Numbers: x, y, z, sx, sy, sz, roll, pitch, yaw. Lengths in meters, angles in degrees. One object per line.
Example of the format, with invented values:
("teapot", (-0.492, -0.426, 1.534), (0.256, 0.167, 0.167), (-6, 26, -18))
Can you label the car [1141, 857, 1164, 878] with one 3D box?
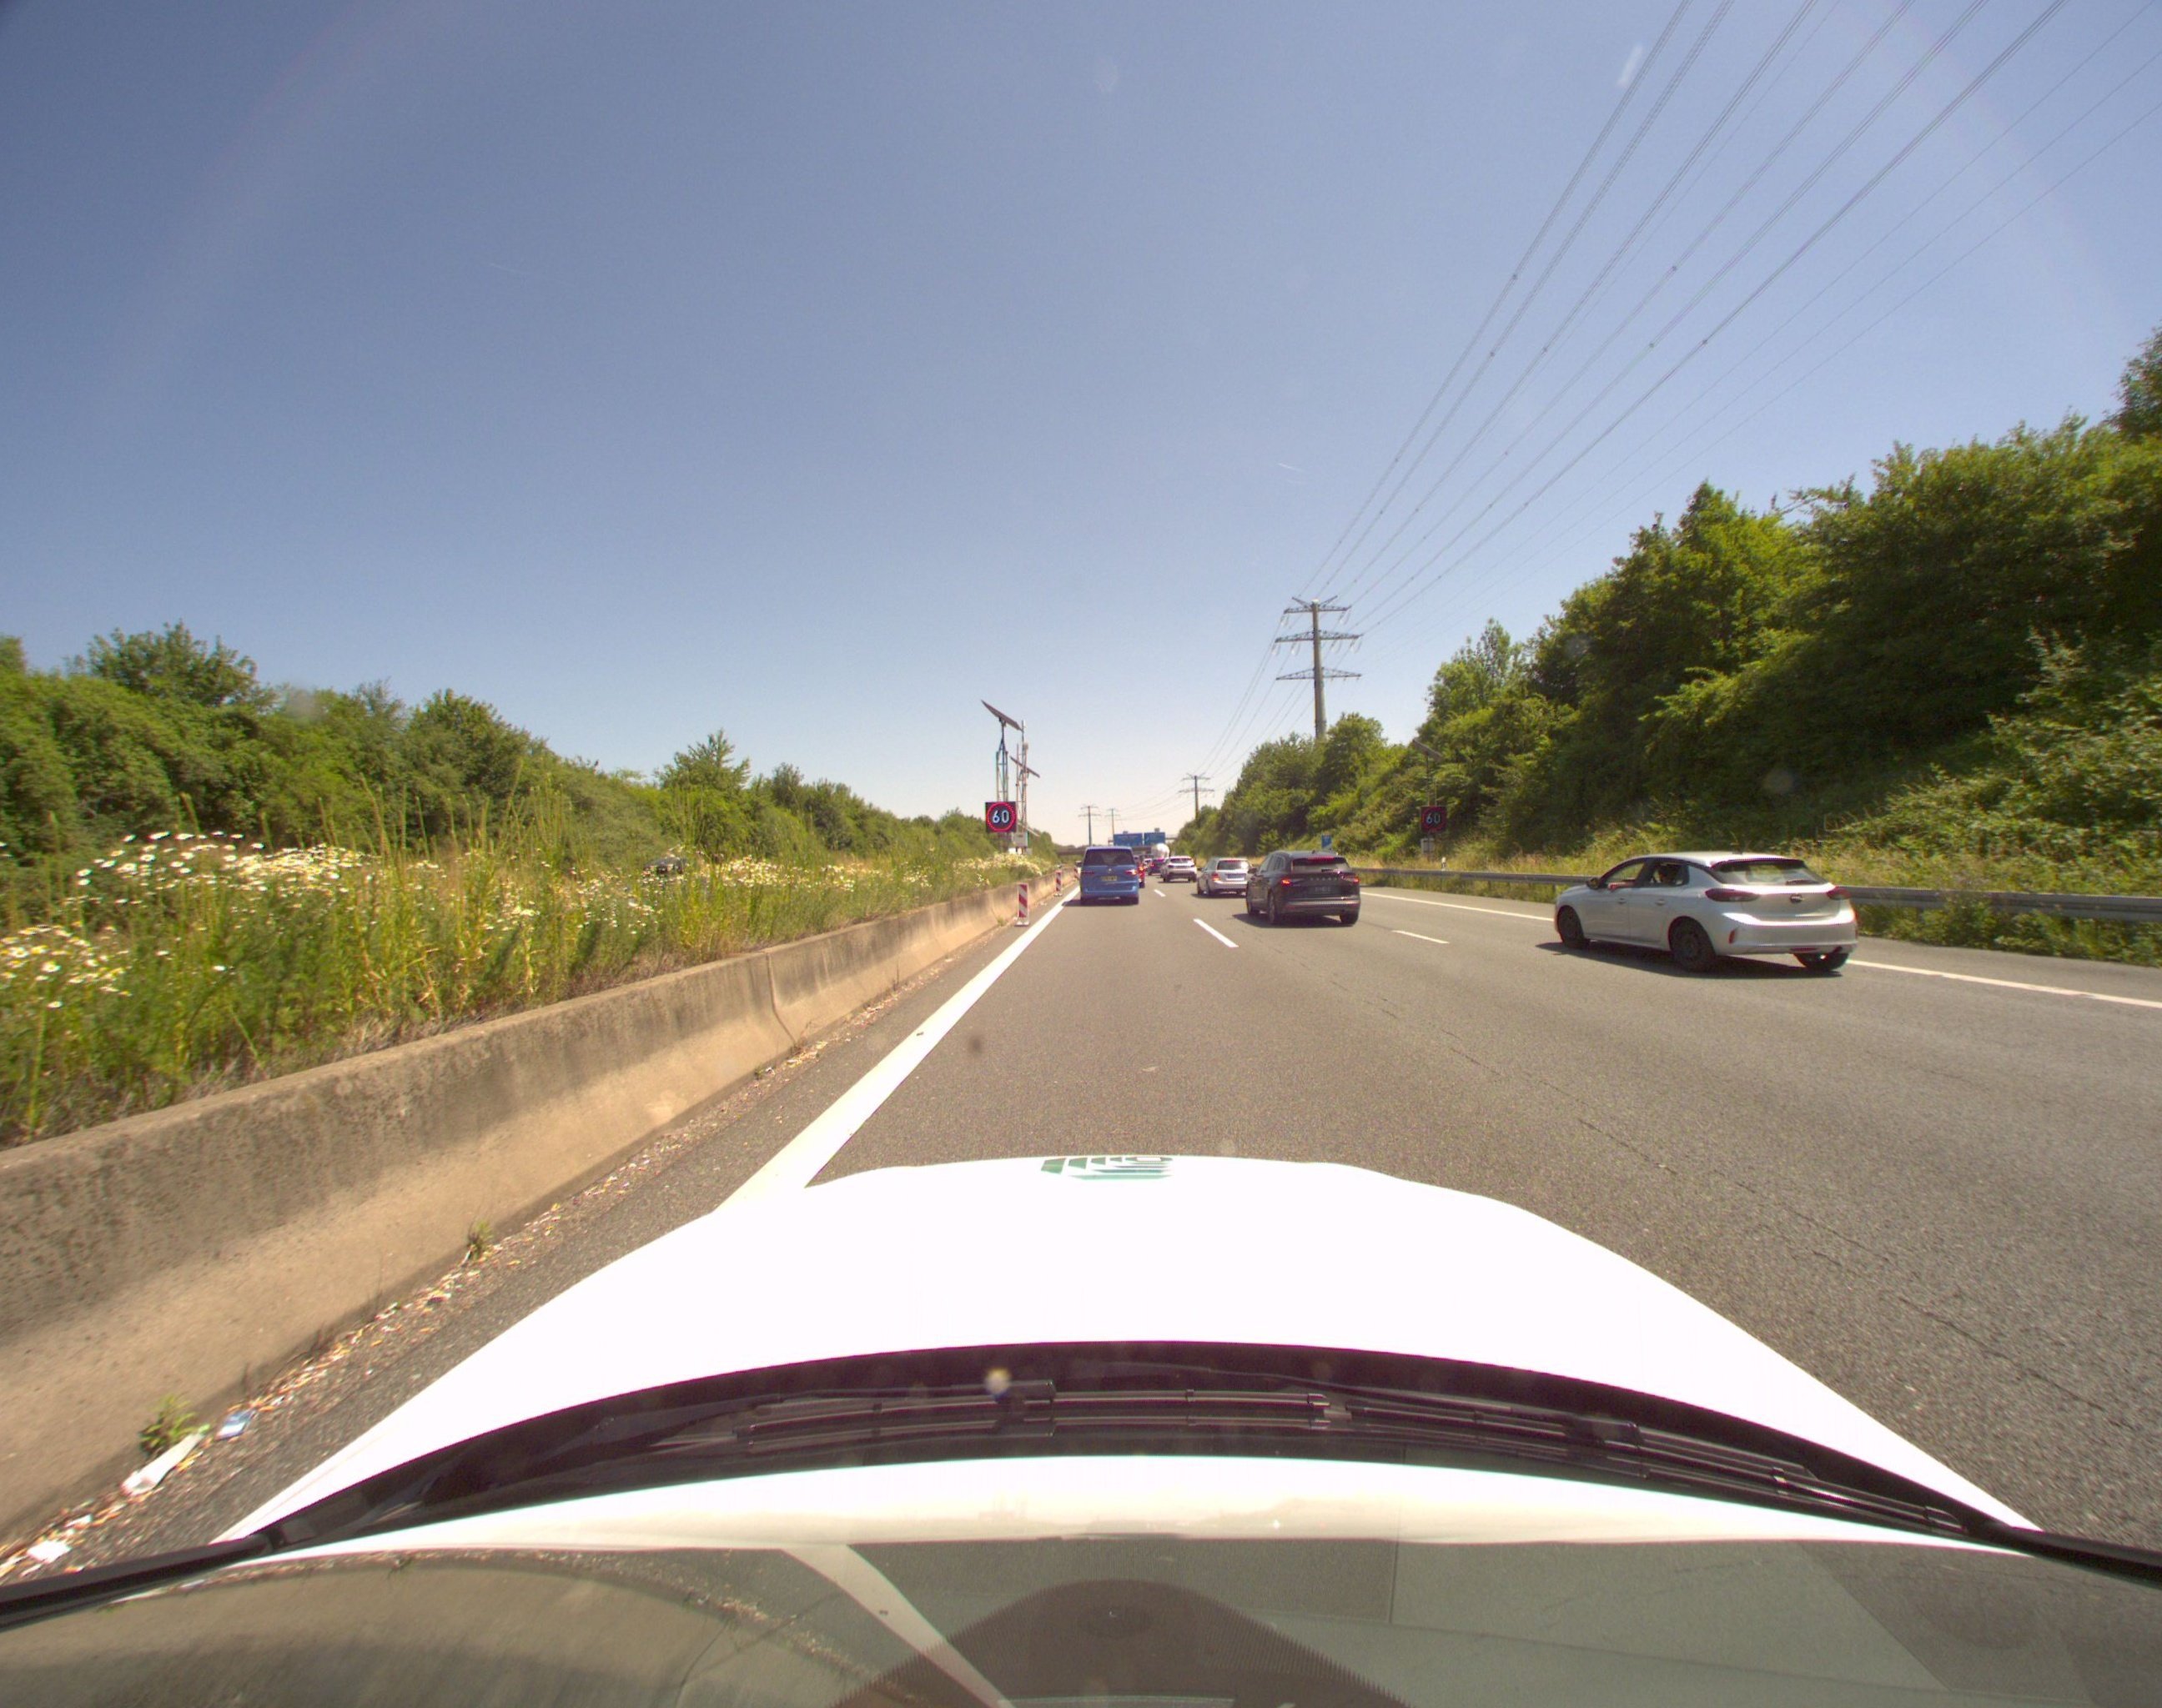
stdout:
("car", (7.012, 1.320, 79.845), (1.986, 2.014, 4.001), (0, 0, 2))

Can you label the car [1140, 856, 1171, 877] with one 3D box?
("car", (5.495, 0.895, 60.444), (1.902, 1.516, 4.383), (0, 0, 0))

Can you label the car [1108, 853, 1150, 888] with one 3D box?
("car", (2.349, 0.806, 41.109), (1.902, 1.631, 4.384), (-1, 0, 1))

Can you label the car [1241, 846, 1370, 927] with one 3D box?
("car", (5.007, 0.667, 18.778), (1.821, 1.614, 4.431), (-1, 0, 1))

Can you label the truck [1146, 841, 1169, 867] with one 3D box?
("truck", (12.864, -0.009, 137.882), (2.635, 4.072, 16.442), (0, 0, 1))

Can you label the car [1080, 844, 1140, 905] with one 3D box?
("car", (0.904, 0.648, 27.506), (1.865, 1.879, 4.382), (0, 0, 0))

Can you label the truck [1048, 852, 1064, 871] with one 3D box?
("truck", (-5.356, 1.567, 176.511), (2.752, 3.888, 9.032), (-4, 0, 1))

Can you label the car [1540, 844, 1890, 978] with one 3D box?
("car", (8.205, 0.638, 11.097), (1.734, 1.470, 4.015), (-1, 0, 2))

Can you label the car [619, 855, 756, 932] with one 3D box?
("car", (-10.714, 0.993, 22.518), (1.697, 1.863, 4.001), (-2, 0, 1))

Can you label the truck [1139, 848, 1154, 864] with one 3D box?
("truck", (15.055, 0.383, 187.020), (2.635, 3.539, 12.553), (0, 0, 1))

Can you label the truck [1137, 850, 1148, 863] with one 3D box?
("truck", (19.697, 0.802, 262.516), (2.927, 4.291, 12.553), (0, 0, 1))

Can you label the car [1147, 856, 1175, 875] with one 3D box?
("car", (6.653, 0.965, 68.069), (1.902, 1.516, 4.383), (0, 0, 0))

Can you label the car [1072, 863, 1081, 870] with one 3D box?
("car", (-0.957, 2.608, 174.608), (1.577, 1.443, 4.002), (0, 0, 2))

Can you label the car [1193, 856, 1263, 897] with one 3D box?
("car", (5.420, 0.794, 30.549), (1.815, 1.437, 4.383), (0, 0, 0))

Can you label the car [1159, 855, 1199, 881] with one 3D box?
("car", (5.814, 0.814, 48.650), (1.902, 1.508, 3.921), (0, 0, 0))

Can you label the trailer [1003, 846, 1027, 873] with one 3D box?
("trailer", (-10.414, 0.870, 128.329), (2.950, 4.057, 5.436), (-4, -1, 2))

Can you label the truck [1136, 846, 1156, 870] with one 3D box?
("truck", (7.601, 0.469, 95.952), (1.986, 2.723, 5.680), (0, 0, 1))
